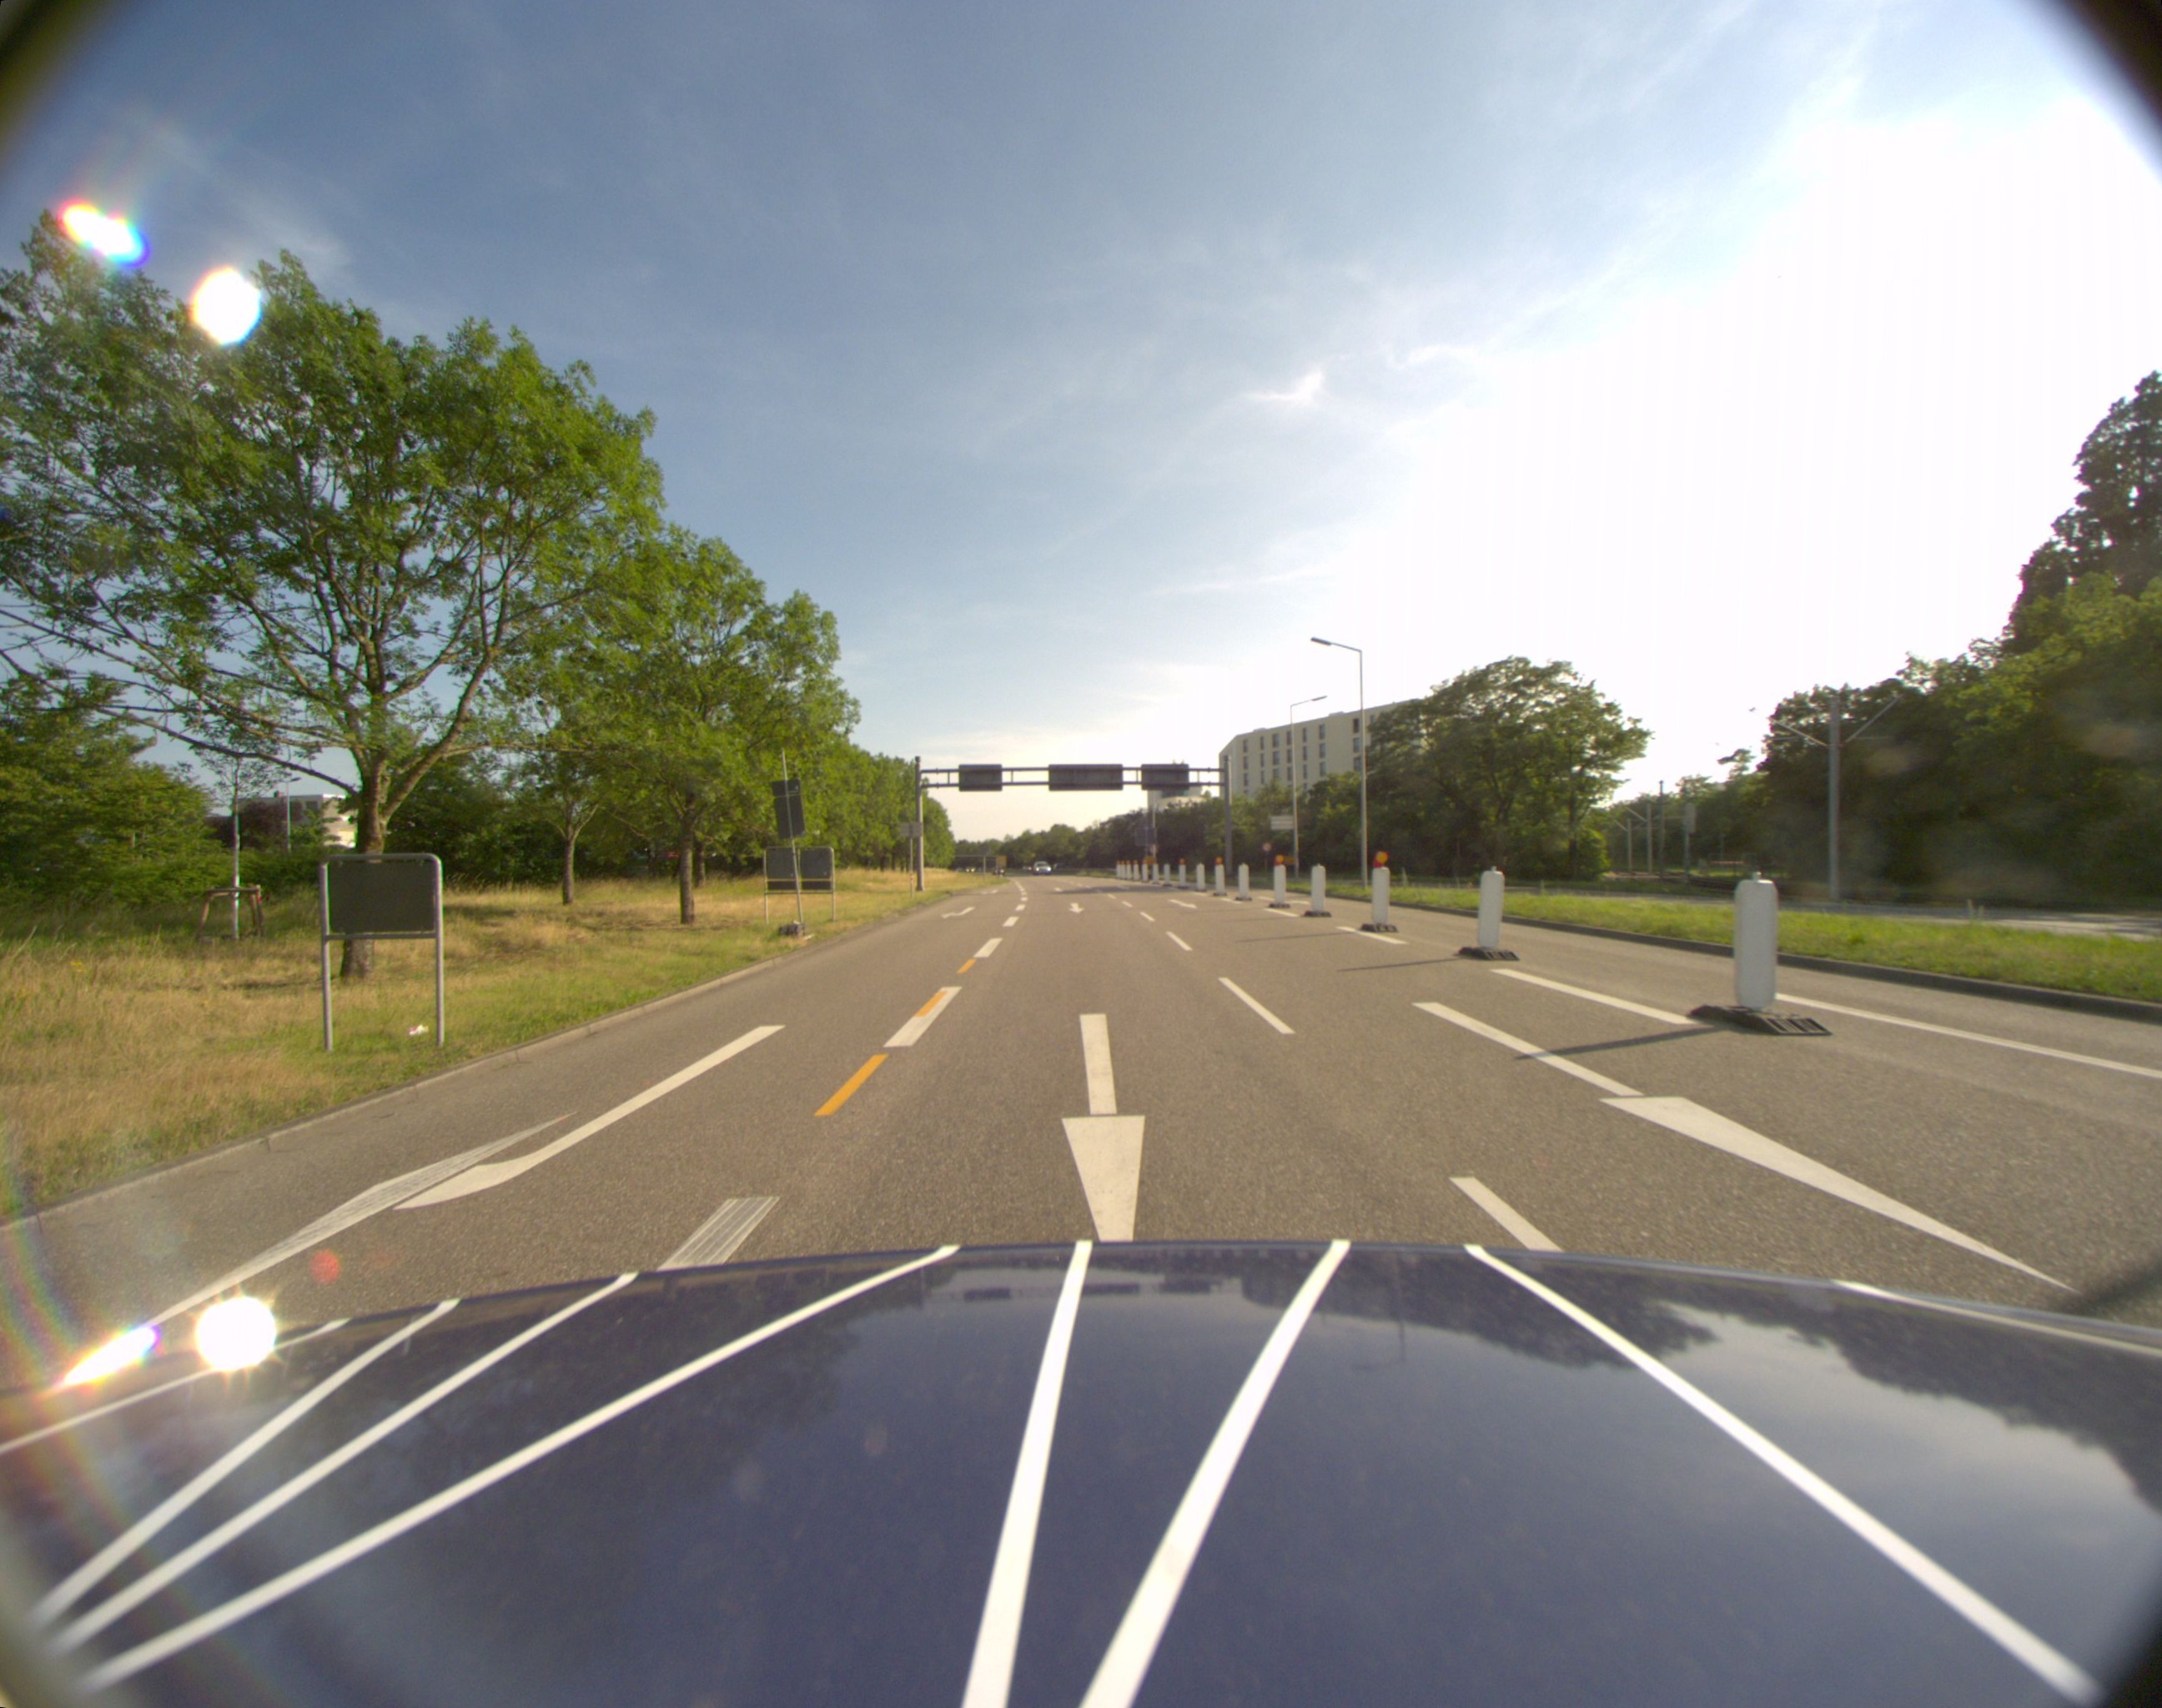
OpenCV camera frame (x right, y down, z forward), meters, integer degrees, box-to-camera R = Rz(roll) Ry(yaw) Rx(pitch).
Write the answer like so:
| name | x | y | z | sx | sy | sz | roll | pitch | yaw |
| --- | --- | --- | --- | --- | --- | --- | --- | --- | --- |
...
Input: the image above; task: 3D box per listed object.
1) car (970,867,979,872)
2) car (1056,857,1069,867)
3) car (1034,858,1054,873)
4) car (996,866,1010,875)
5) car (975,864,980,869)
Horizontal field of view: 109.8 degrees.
| name | x | y | z | sx | sy | sz | roll | pitch | yaw |
| --- | --- | --- | --- | --- | --- | --- | --- | --- | --- |
| car | -28.219 | 4.094 | 201.757 | 1.897 | 1.447 | 3.904 | -1 | 0 | -15 |
| car | -3.423 | 1.446 | 139.392 | 1.791 | 1.796 | 4.120 | -1 | 0 | -11 |
| car | -4.847 | 1.495 | 99.981 | 1.903 | 1.813 | 4.352 | -3 | 0 | -11 |
| car | -13.180 | 2.732 | 128.944 | 1.903 | 1.377 | 4.352 | -3 | 0 | -11 |
| car | -33.909 | 4.046 | 248.897 | 1.608 | 1.433 | 3.233 | -3 | 0 | -12 |
